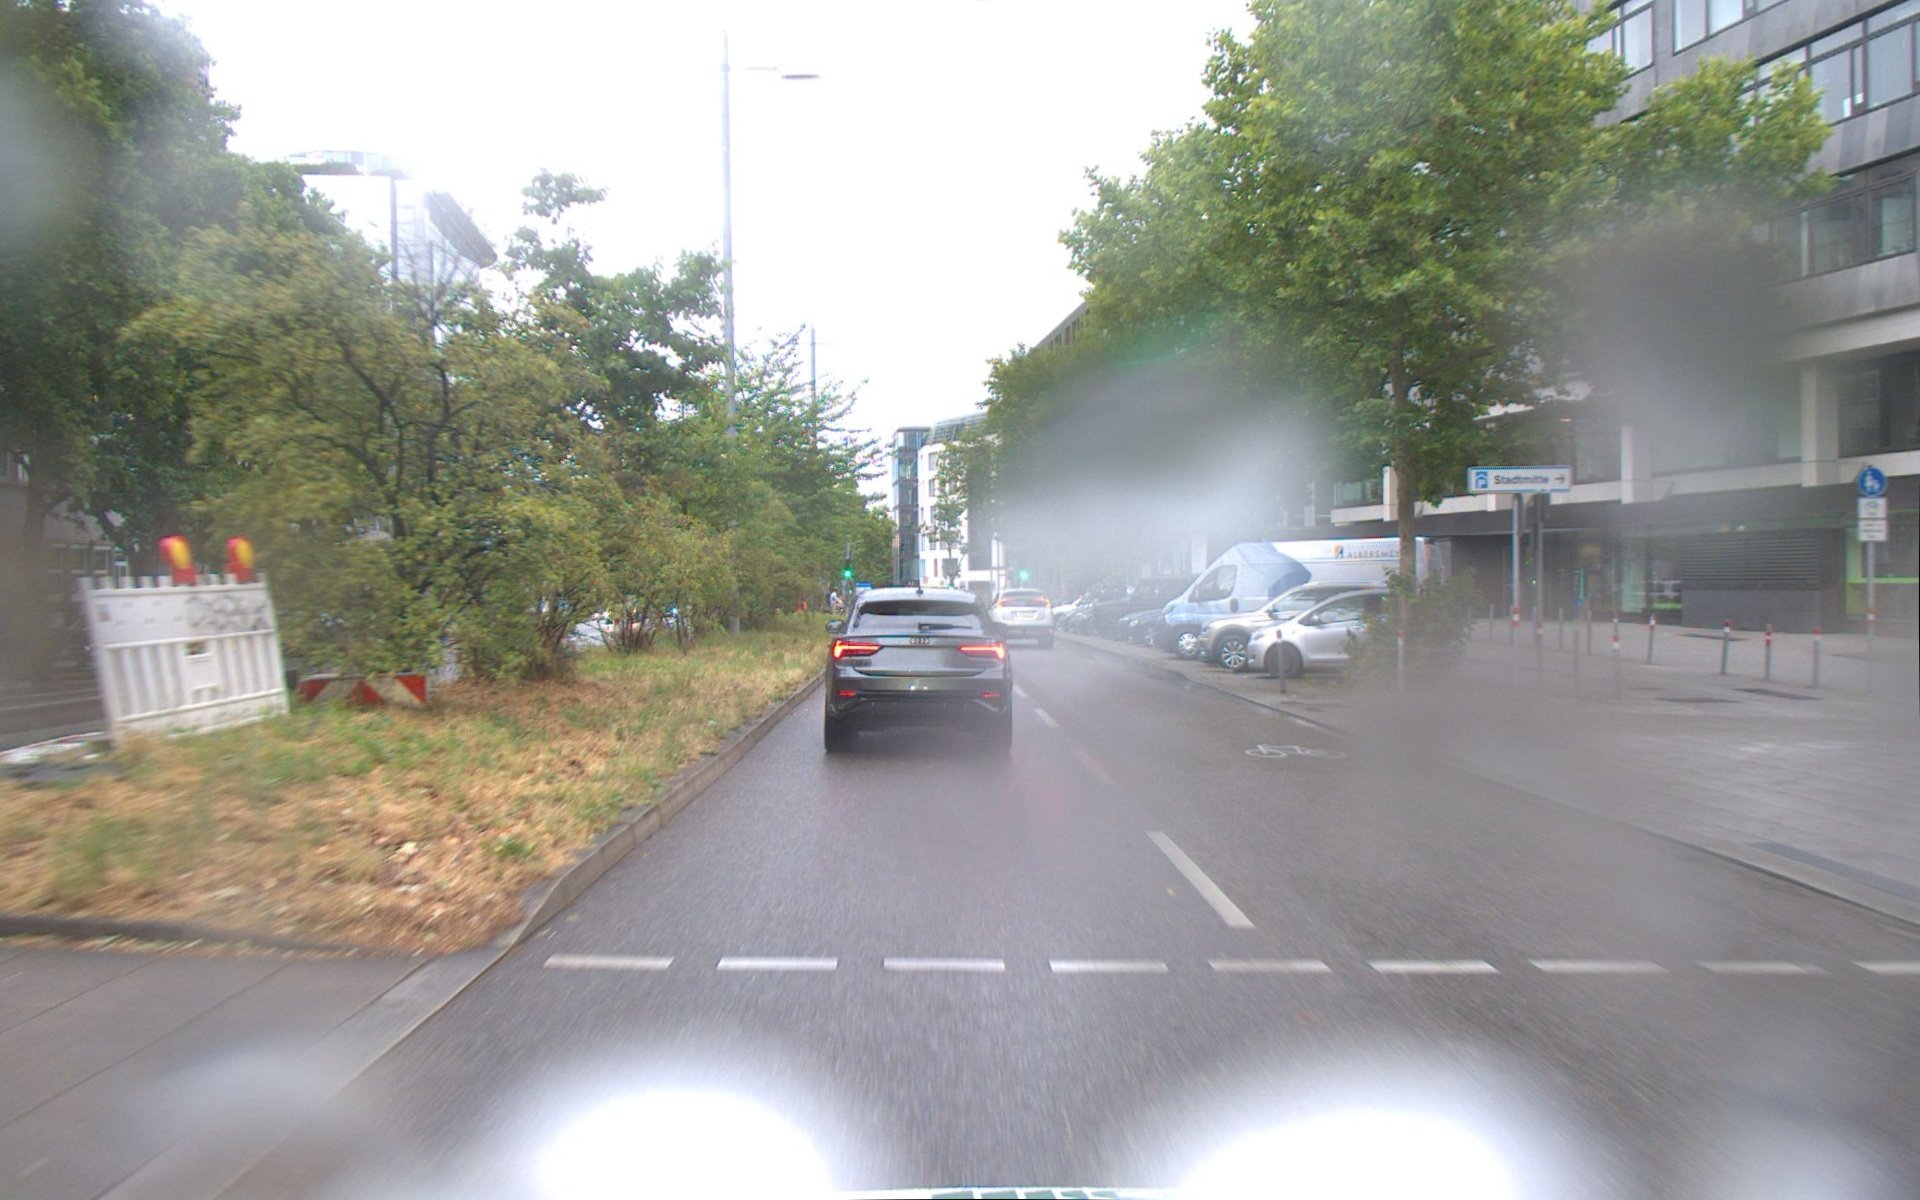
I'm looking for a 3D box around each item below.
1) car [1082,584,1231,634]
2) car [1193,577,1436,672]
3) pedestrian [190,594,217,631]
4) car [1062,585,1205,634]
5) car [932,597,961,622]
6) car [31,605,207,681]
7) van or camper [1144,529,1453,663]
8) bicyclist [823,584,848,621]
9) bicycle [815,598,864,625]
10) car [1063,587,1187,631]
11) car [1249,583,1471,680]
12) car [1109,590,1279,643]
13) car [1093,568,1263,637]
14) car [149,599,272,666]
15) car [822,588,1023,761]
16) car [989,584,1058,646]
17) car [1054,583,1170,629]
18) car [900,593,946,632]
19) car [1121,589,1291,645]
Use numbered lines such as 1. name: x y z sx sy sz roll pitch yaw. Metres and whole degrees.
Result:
1. car: 6.401 0.292 53.948 4.462 1.533 1.869 -1 0 24
2. car: 6.668 0.418 31.099 4.172 1.696 1.817 0 0 25
3. pedestrian: -34.391 0.559 75.195 0.977 1.674 0.674 -1 0 -14
4. car: 6.015 0.327 57.207 4.673 1.560 1.871 -1 0 14
5. car: -0.844 0.606 104.210 1.812 1.550 4.038 0 0 -1
6. car: -18.742 0.915 37.113 1.733 1.459 4.669 -3 0 -4
7. van or camper: 6.975 -0.064 34.299 5.947 2.603 2.103 0 0 26
8. bicyclist: -5.886 0.124 78.245 1.082 1.650 0.750 3 -1 -2
9. bicycle: -5.701 0.562 78.241 2.209 1.182 0.750 2 -1 -2
10. car: 6.146 0.344 61.719 4.211 1.515 1.840 -1 0 29
11. car: 6.880 0.512 28.359 3.572 1.574 1.715 0 0 18
12. car: 6.789 0.488 48.068 4.533 1.419 1.845 -1 -1 28
13. car: 6.727 0.077 51.199 4.839 2.013 1.928 -1 0 25
14. car: -19.101 0.795 42.290 1.654 1.546 3.622 -3 0 -5
15. car: -0.383 0.659 16.995 1.812 1.550 4.038 0 1 -1
16. car: 1.798 0.417 48.106 1.812 1.698 4.038 0 0 -1
17. car: 5.960 0.249 64.924 4.134 1.698 1.837 -1 0 26
18. car: -1.494 0.496 67.839 1.812 1.550 4.038 0 0 -1
19. car: 6.707 0.450 45.149 4.278 1.461 1.760 0 0 25
